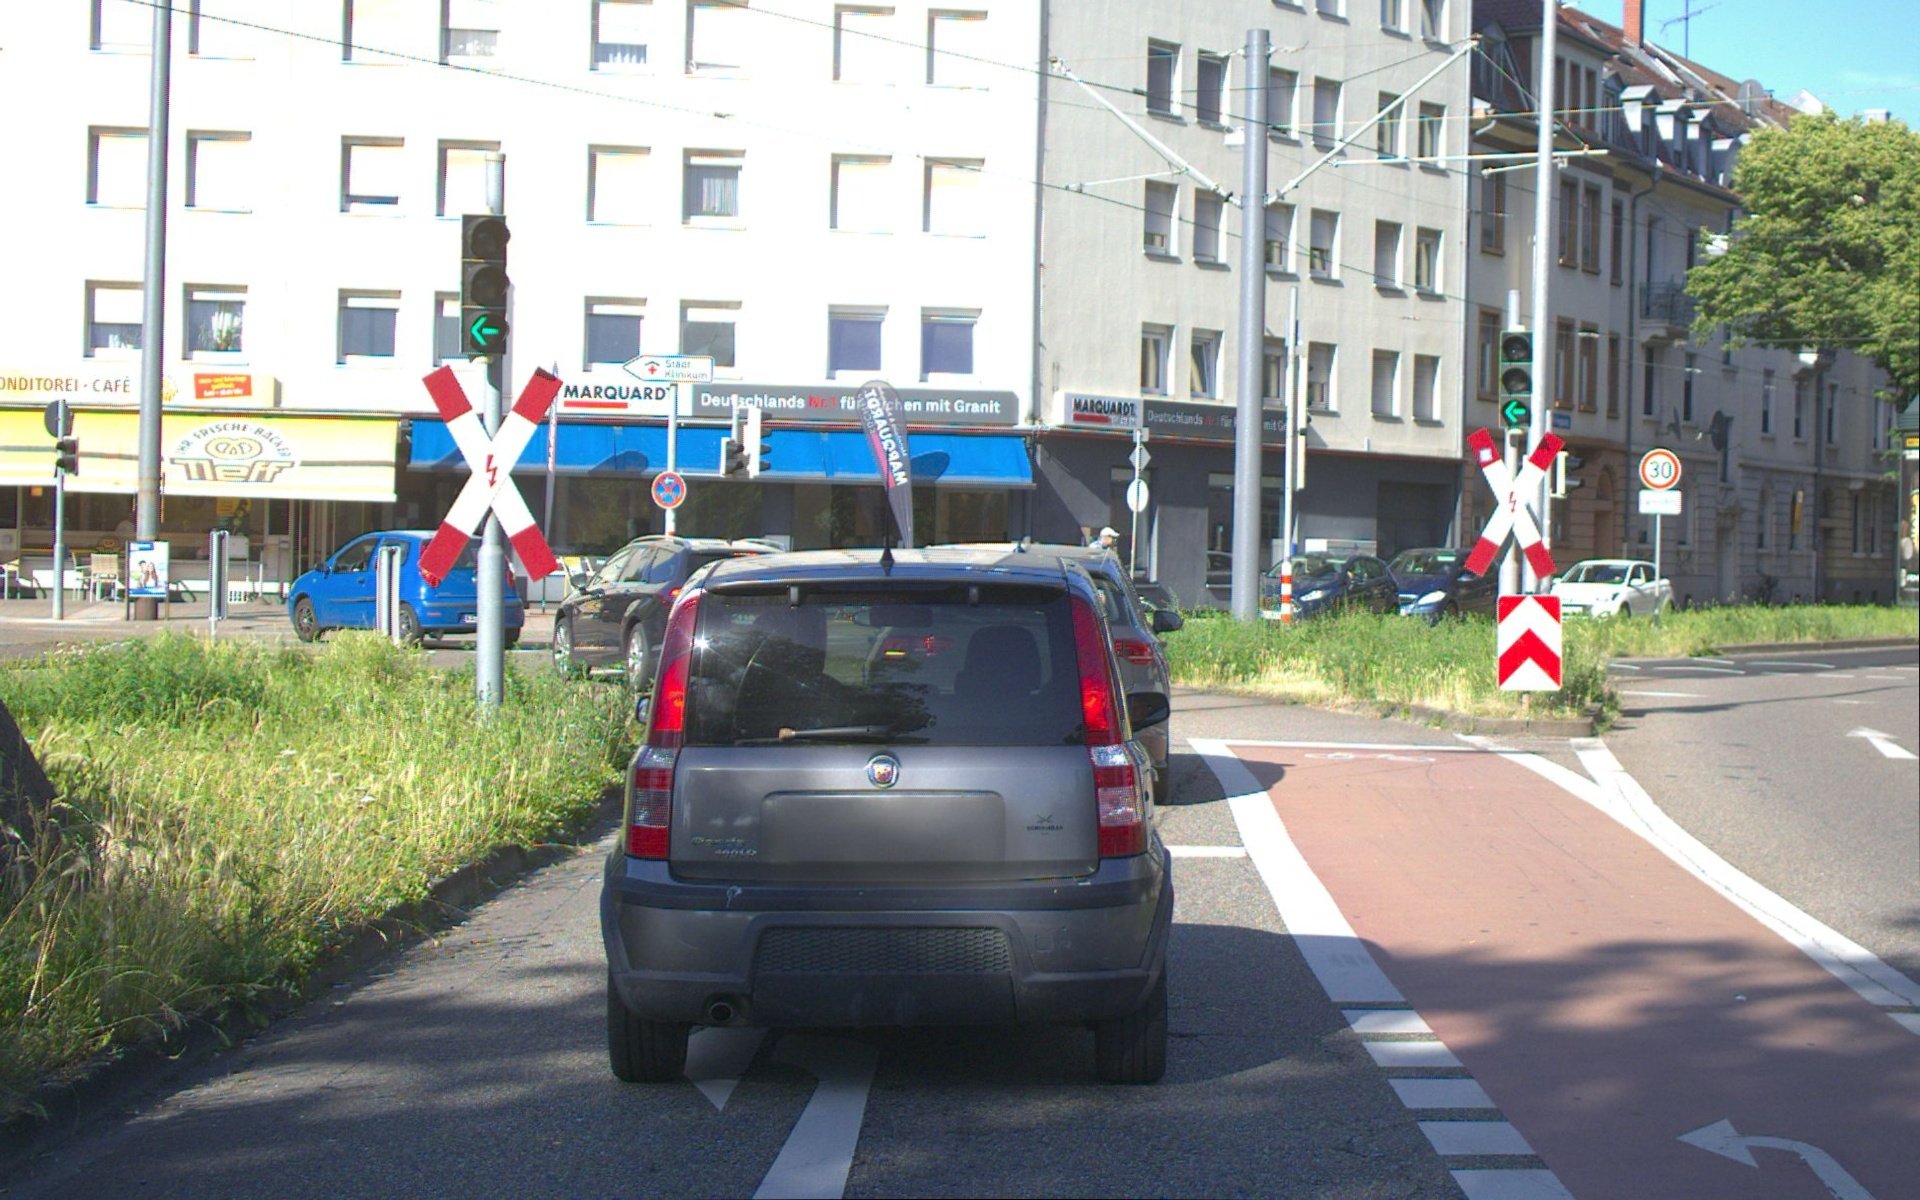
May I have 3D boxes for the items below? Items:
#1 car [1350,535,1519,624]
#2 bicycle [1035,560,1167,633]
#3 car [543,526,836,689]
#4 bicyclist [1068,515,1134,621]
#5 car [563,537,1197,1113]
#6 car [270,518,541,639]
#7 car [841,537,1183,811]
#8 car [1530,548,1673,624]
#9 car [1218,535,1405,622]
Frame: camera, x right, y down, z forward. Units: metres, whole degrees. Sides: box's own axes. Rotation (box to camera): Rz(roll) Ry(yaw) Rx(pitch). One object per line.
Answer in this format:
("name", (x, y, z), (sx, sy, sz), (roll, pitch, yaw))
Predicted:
("car", (8.852, -0.380, 63.926), (1.793, 1.560, 3.760), (2, 1, 30))
("bicycle", (2.108, -0.060, 51.432), (1.853, 1.029, 0.589), (2, 1, 18))
("car", (-2.765, 0.033, 34.219), (1.759, 1.481, 4.295), (1, 1, -20))
("bicyclist", (2.113, -0.486, 51.423), (0.822, 1.553, 0.561), (2, 1, 18))
("car", (-0.319, 0.576, 10.799), (1.659, 1.505, 3.252), (1, 1, -4))
("car", (-7.080, -0.289, 43.776), (3.393, 1.433, 1.647), (2, 1, 43))
("car", (0.217, 0.365, 20.204), (1.621, 1.424, 3.689), (1, 1, -5))
("car", (13.242, -0.299, 70.818), (1.793, 1.477, 3.526), (2, 1, 30))
("car", (6.041, -0.368, 58.791), (1.793, 1.391, 3.719), (2, 1, 30))
